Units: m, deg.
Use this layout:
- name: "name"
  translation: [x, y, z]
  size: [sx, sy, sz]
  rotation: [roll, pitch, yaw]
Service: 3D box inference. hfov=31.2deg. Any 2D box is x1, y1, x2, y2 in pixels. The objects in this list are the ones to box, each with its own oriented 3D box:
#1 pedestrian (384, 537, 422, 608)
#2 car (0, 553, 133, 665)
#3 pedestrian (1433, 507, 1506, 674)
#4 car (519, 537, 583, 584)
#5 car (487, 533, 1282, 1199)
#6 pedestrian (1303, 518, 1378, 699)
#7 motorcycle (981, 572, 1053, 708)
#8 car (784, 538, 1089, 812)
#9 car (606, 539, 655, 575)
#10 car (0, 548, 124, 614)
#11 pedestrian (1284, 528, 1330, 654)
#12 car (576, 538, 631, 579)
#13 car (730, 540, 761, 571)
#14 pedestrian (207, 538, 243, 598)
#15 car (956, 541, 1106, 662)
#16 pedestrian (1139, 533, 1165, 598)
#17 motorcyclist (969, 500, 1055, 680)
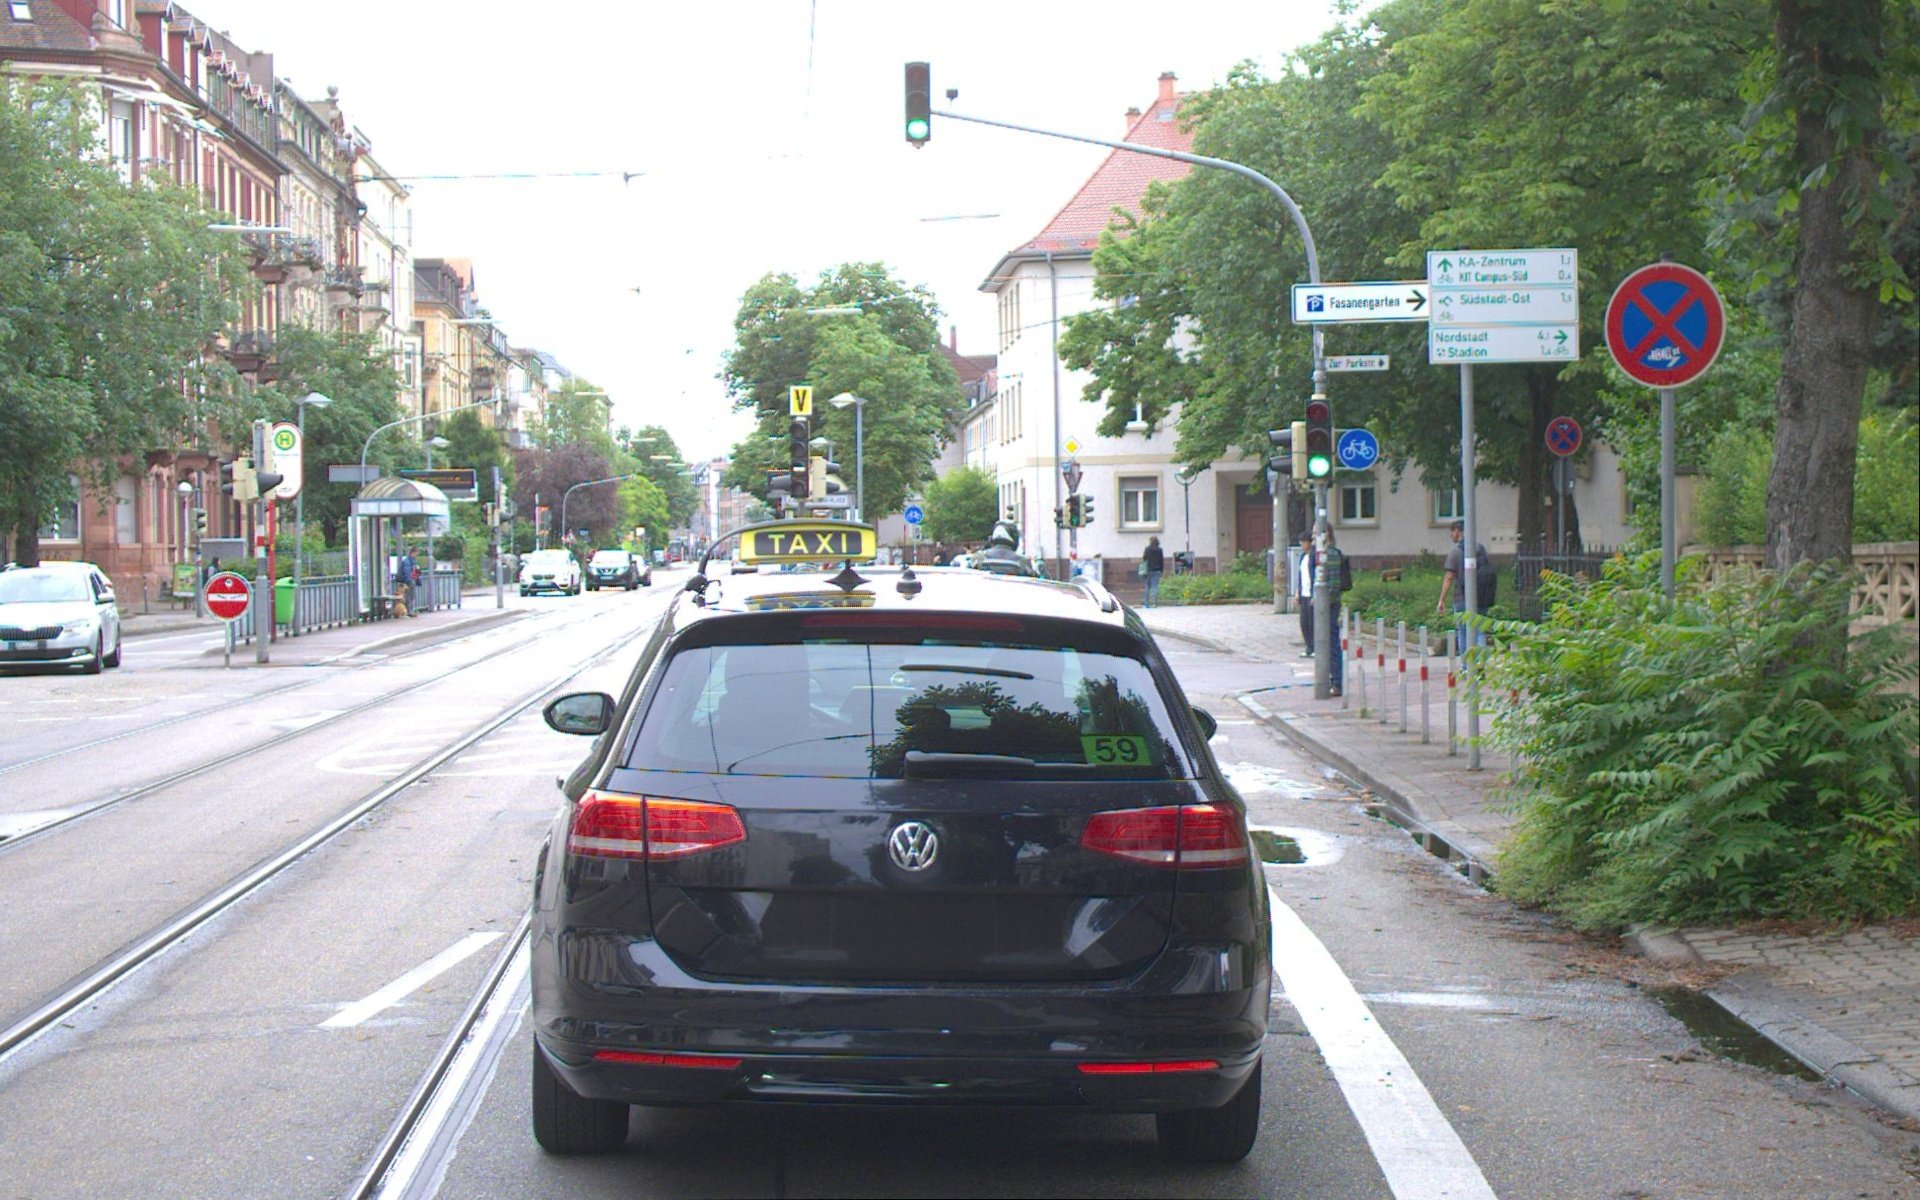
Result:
- name: "pedestrian"
  translation: [-11.933, -0.587, 73.700]
  size: [0.714, 1.515, 0.590]
  rotation: [-1, 1, -1]
- name: "car"
  translation: [-12.367, 0.097, 46.864]
  size: [1.688, 1.406, 4.001]
  rotation: [-2, 1, -8]
- name: "pedestrian"
  translation: [5.581, -0.107, 37.680]
  size: [0.632, 1.808, 0.726]
  rotation: [-1, 1, -5]
- name: "car"
  translation: [-14.415, -1.399, 121.361]
  size: [1.795, 1.590, 4.000]
  rotation: [0, 1, 0]
- name: "car"
  translation: [-0.257, 0.591, 9.454]
  size: [1.723, 1.541, 4.001]
  rotation: [0, 1, -3]
- name: "pedestrian"
  translation: [3.937, 0.082, 35.636]
  size: [0.585, 1.824, 0.604]
  rotation: [-4, 1, -2]
- name: "motorcycle"
  translation: [0.551, 0.366, 32.710]
  size: [0.446, 1.231, 1.906]
  rotation: [-1, 1, 8]
- name: "car"
  translation: [-0.228, 0.386, 21.404]
  size: [1.723, 1.541, 4.001]
  rotation: [0, 1, -3]
- name: "car"
  translation: [-14.916, -1.972, 155.749]
  size: [1.795, 1.590, 4.000]
  rotation: [-1, 1, 0]
- name: "car"
  translation: [-23.585, -0.498, 88.025]
  size: [3.853, 1.617, 1.726]
  rotation: [-2, 1, -44]
- name: "pedestrian"
  translation: [5.117, -0.138, 50.762]
  size: [0.514, 1.824, 0.418]
  rotation: [-4, 1, -2]
- name: "car"
  translation: [-14.322, -1.674, 138.405]
  size: [1.795, 1.590, 4.000]
  rotation: [-1, 1, 0]
- name: "car"
  translation: [-14.313, -2.957, 229.754]
  size: [2.032, 2.007, 4.000]
  rotation: [1, 0, -3]
- name: "pedestrian"
  translation: [-18.789, -0.826, 87.889]
  size: [0.589, 1.515, 0.648]
  rotation: [0, 1, 33]
- name: "car"
  translation: [0.899, -0.018, 45.851]
  size: [1.723, 1.541, 4.001]
  rotation: [0, 1, -3]
- name: "pedestrian"
  translation: [4.616, -0.823, 82.670]
  size: [0.581, 1.548, 0.609]
  rotation: [0, 1, 0]
- name: "motorcyclist"
  translation: [0.503, -0.097, 32.760]
  size: [0.703, 1.686, 0.804]
  rotation: [-1, 1, 8]
